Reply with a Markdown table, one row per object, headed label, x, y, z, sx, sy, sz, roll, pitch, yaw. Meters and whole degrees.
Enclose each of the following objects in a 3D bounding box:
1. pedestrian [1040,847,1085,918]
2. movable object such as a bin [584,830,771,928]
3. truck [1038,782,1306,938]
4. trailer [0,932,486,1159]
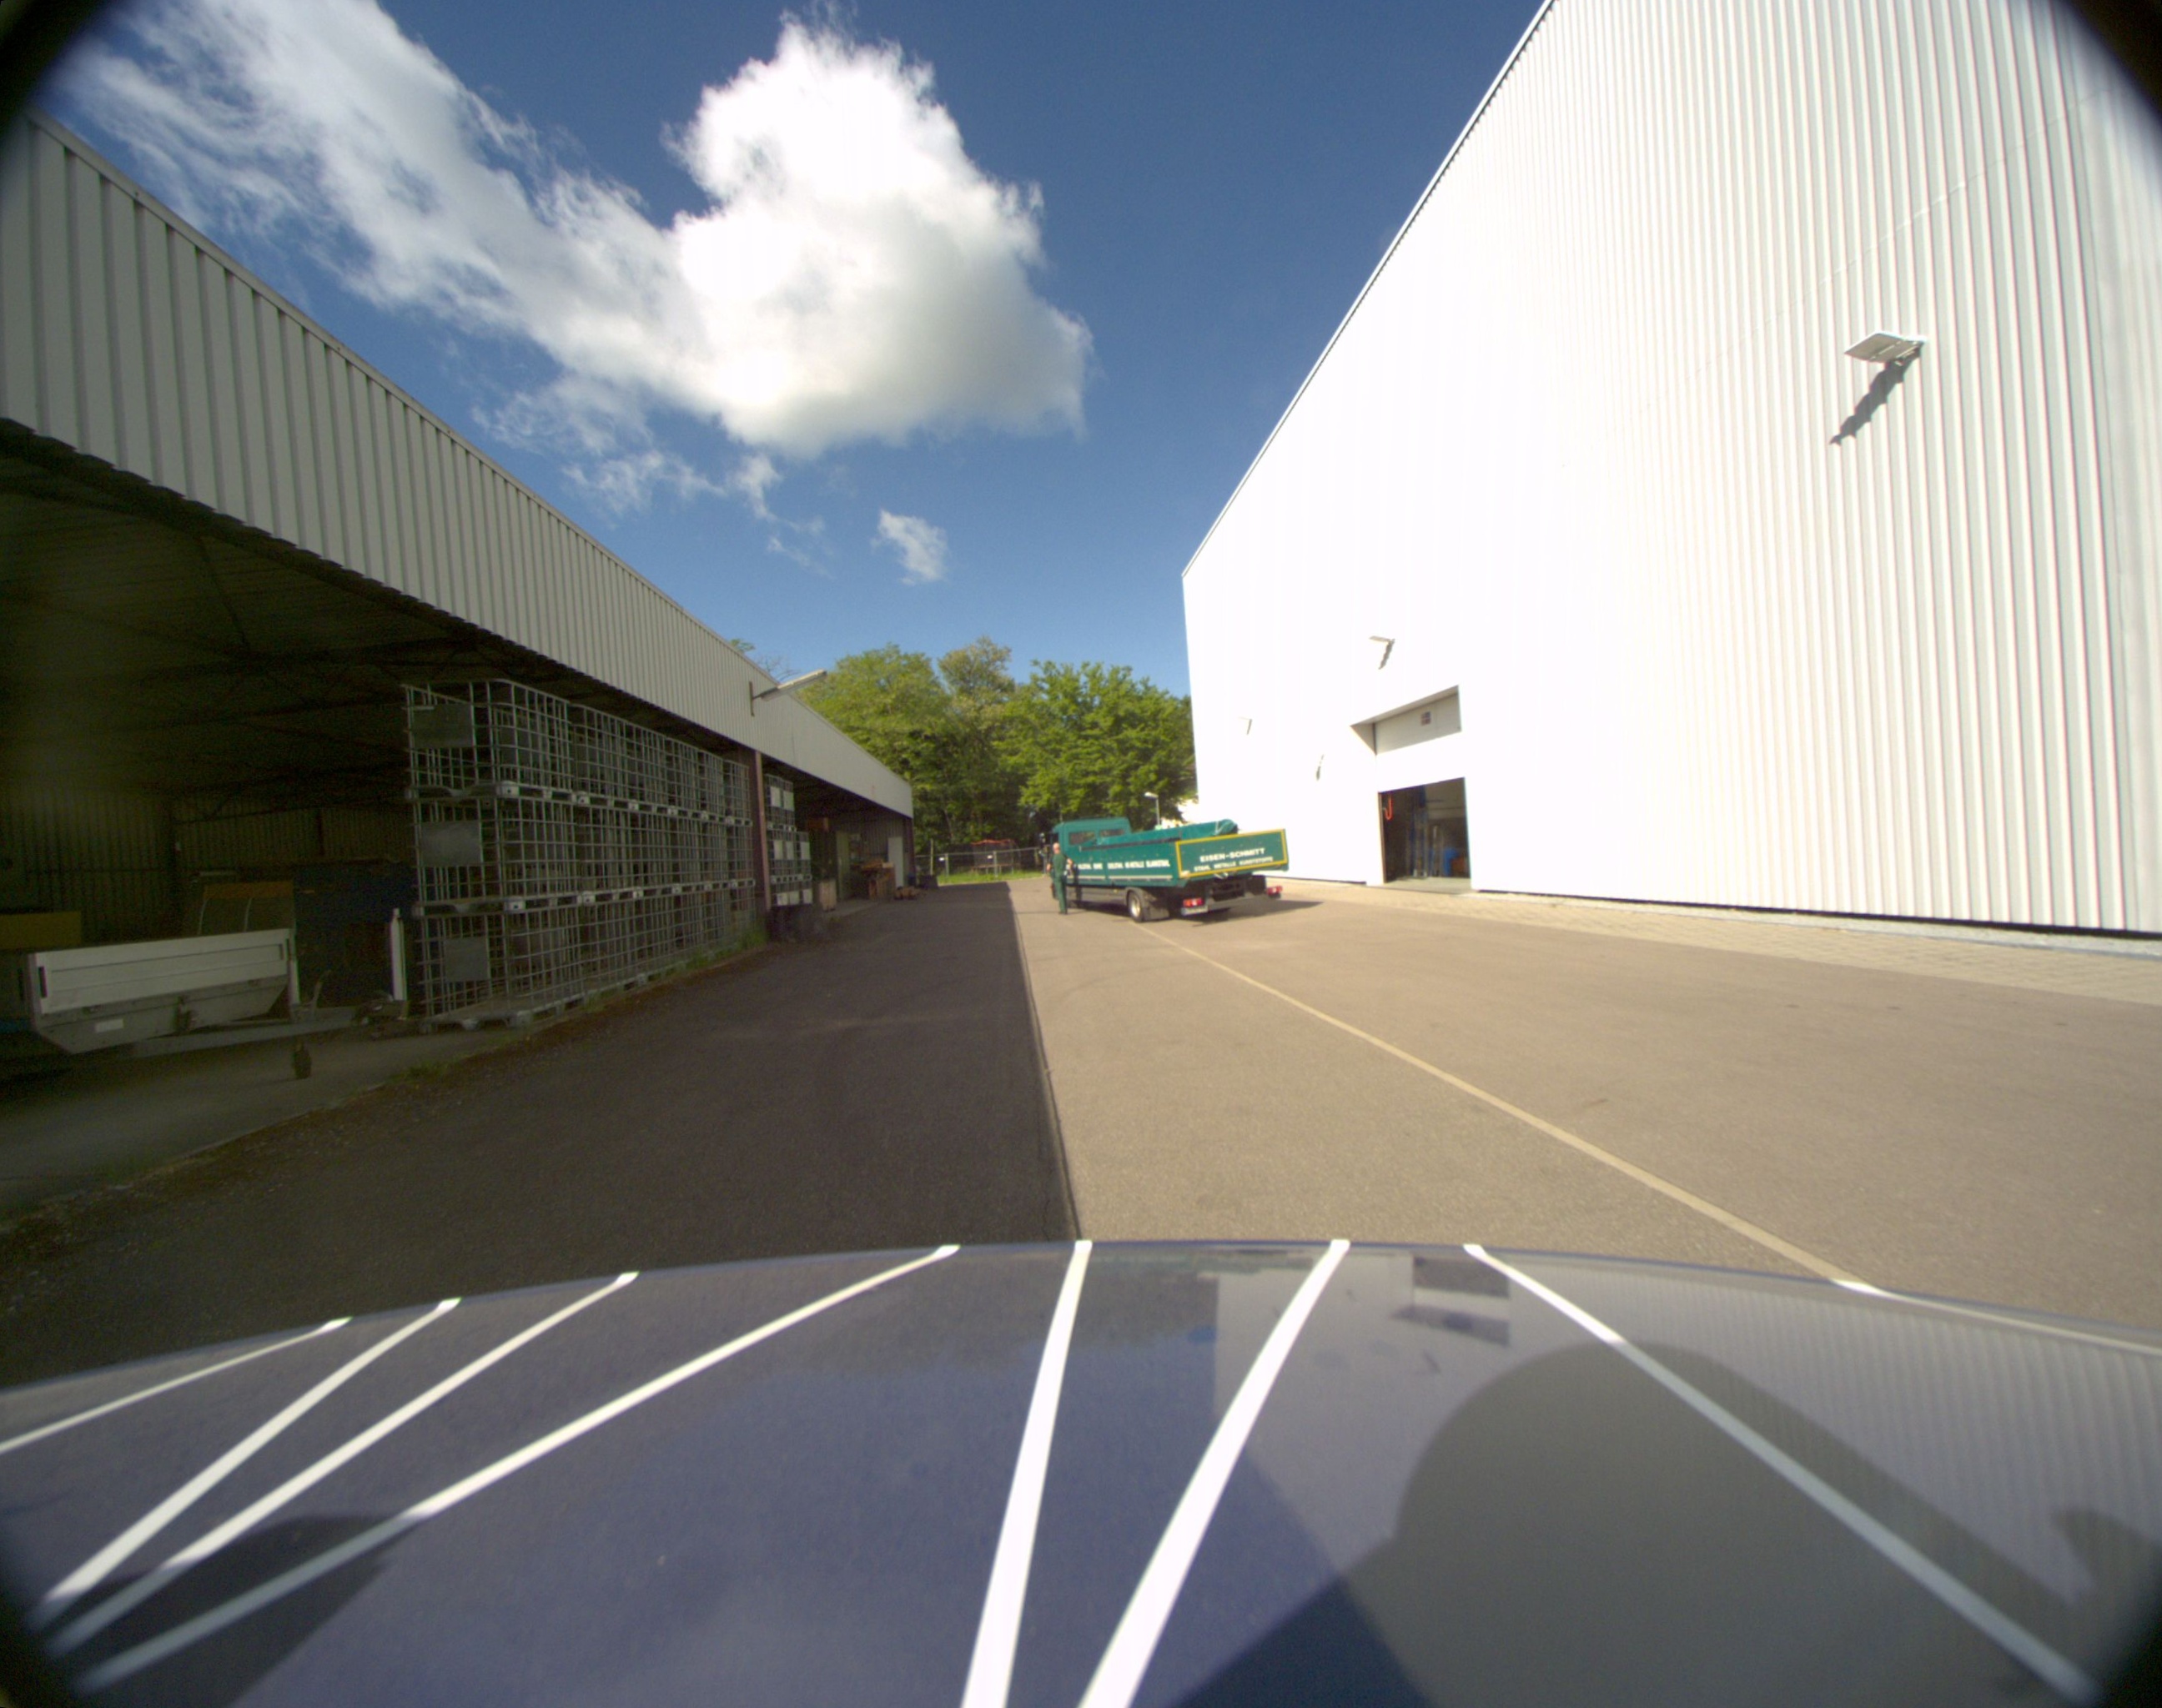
| label | x | y | z | sx | sy | sz | roll | pitch | yaw |
| --- | --- | --- | --- | --- | --- | --- | --- | --- | --- |
| pedestrian | -0.486 | 0.722 | 19.872 | 0.895 | 1.792 | 1.038 | -2 | 1 | -16 |
| movable object such as a bin | -12.370 | 0.741 | 23.599 | 4.629 | 2.706 | 1.999 | -2 | -1 | -8 |
| truck | 1.554 | 0.184 | 19.146 | 2.590 | 2.701 | 9.681 | -7 | 1 | -18 |
| trailer | -8.229 | 1.435 | 5.614 | 5.752 | 1.126 | 2.007 | -3 | 0 | -7 |
